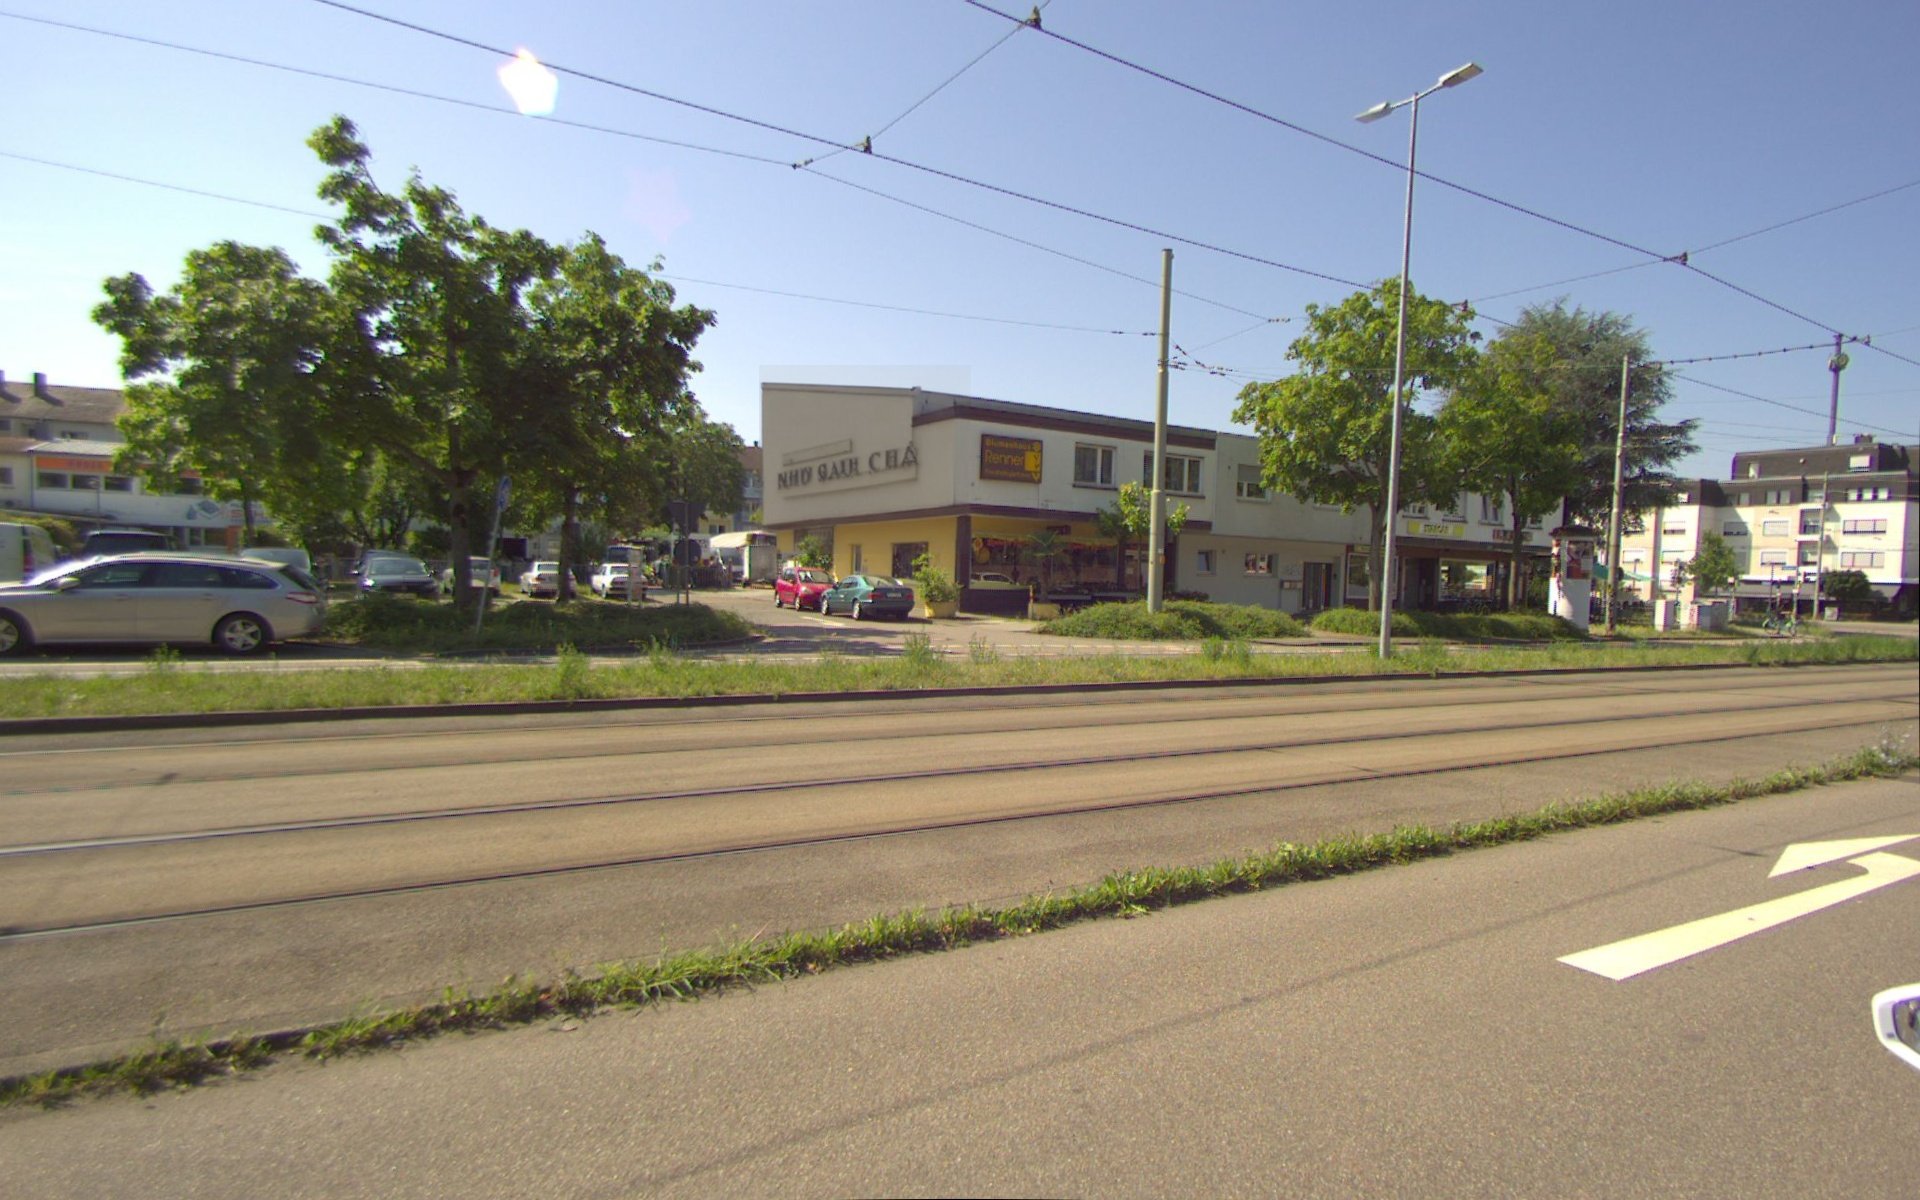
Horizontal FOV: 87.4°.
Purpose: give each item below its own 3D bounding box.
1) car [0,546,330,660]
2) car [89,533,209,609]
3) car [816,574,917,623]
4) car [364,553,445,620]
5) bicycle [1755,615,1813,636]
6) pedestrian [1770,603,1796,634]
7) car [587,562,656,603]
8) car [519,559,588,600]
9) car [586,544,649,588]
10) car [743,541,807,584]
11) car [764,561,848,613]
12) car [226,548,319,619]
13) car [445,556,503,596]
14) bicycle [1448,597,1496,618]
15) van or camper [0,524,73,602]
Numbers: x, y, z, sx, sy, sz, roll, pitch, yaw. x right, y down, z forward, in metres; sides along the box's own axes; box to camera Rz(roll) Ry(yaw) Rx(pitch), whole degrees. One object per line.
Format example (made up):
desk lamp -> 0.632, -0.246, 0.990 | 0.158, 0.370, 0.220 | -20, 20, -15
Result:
car -> -12.235, 0.022, 15.097 | 4.561, 1.510, 1.597 | 1, 4, -29
car -> -18.770, -0.671, 23.395 | 1.645, 1.584, 3.965 | 1, 1, -32
car -> -3.038, -0.083, 31.746 | 1.677, 1.363, 4.128 | 1, 2, -29
car -> -14.367, -0.373, 25.877 | 1.645, 1.584, 3.965 | 1, 1, -32
bicycle -> 40.664, 1.233, 49.612 | 2.133, 0.934, 0.553 | 2, 1, 16
pedestrian -> 41.051, 0.921, 50.092 | 0.799, 1.507, 0.566 | 2, 1, 16
car -> -13.809, -0.751, 40.832 | 1.889, 1.555, 3.966 | 0, 2, -31
car -> -16.241, -0.833, 40.006 | 1.890, 1.555, 3.964 | 0, 2, -32
car -> -18.387, -1.795, 53.786 | 2.077, 2.203, 4.901 | 1, 1, -32
car -> -10.562, -2.109, 57.371 | 3.373, 2.307, 1.476 | 1, 2, -20
car -> -5.660, -0.497, 36.577 | 1.677, 1.759, 4.128 | 1, 2, -29
car -> -16.662, -0.416, 24.496 | 1.645, 1.584, 3.965 | 1, 1, -32
car -> -18.853, -0.934, 38.858 | 1.657, 1.444, 3.951 | 0, 2, -31
bicycle -> 23.264, 0.344, 45.614 | 2.362, 0.900, 0.779 | 1, 2, -30
van or camper -> -20.955, -0.820, 21.982 | 1.858, 1.584, 3.960 | 1, 1, -35
